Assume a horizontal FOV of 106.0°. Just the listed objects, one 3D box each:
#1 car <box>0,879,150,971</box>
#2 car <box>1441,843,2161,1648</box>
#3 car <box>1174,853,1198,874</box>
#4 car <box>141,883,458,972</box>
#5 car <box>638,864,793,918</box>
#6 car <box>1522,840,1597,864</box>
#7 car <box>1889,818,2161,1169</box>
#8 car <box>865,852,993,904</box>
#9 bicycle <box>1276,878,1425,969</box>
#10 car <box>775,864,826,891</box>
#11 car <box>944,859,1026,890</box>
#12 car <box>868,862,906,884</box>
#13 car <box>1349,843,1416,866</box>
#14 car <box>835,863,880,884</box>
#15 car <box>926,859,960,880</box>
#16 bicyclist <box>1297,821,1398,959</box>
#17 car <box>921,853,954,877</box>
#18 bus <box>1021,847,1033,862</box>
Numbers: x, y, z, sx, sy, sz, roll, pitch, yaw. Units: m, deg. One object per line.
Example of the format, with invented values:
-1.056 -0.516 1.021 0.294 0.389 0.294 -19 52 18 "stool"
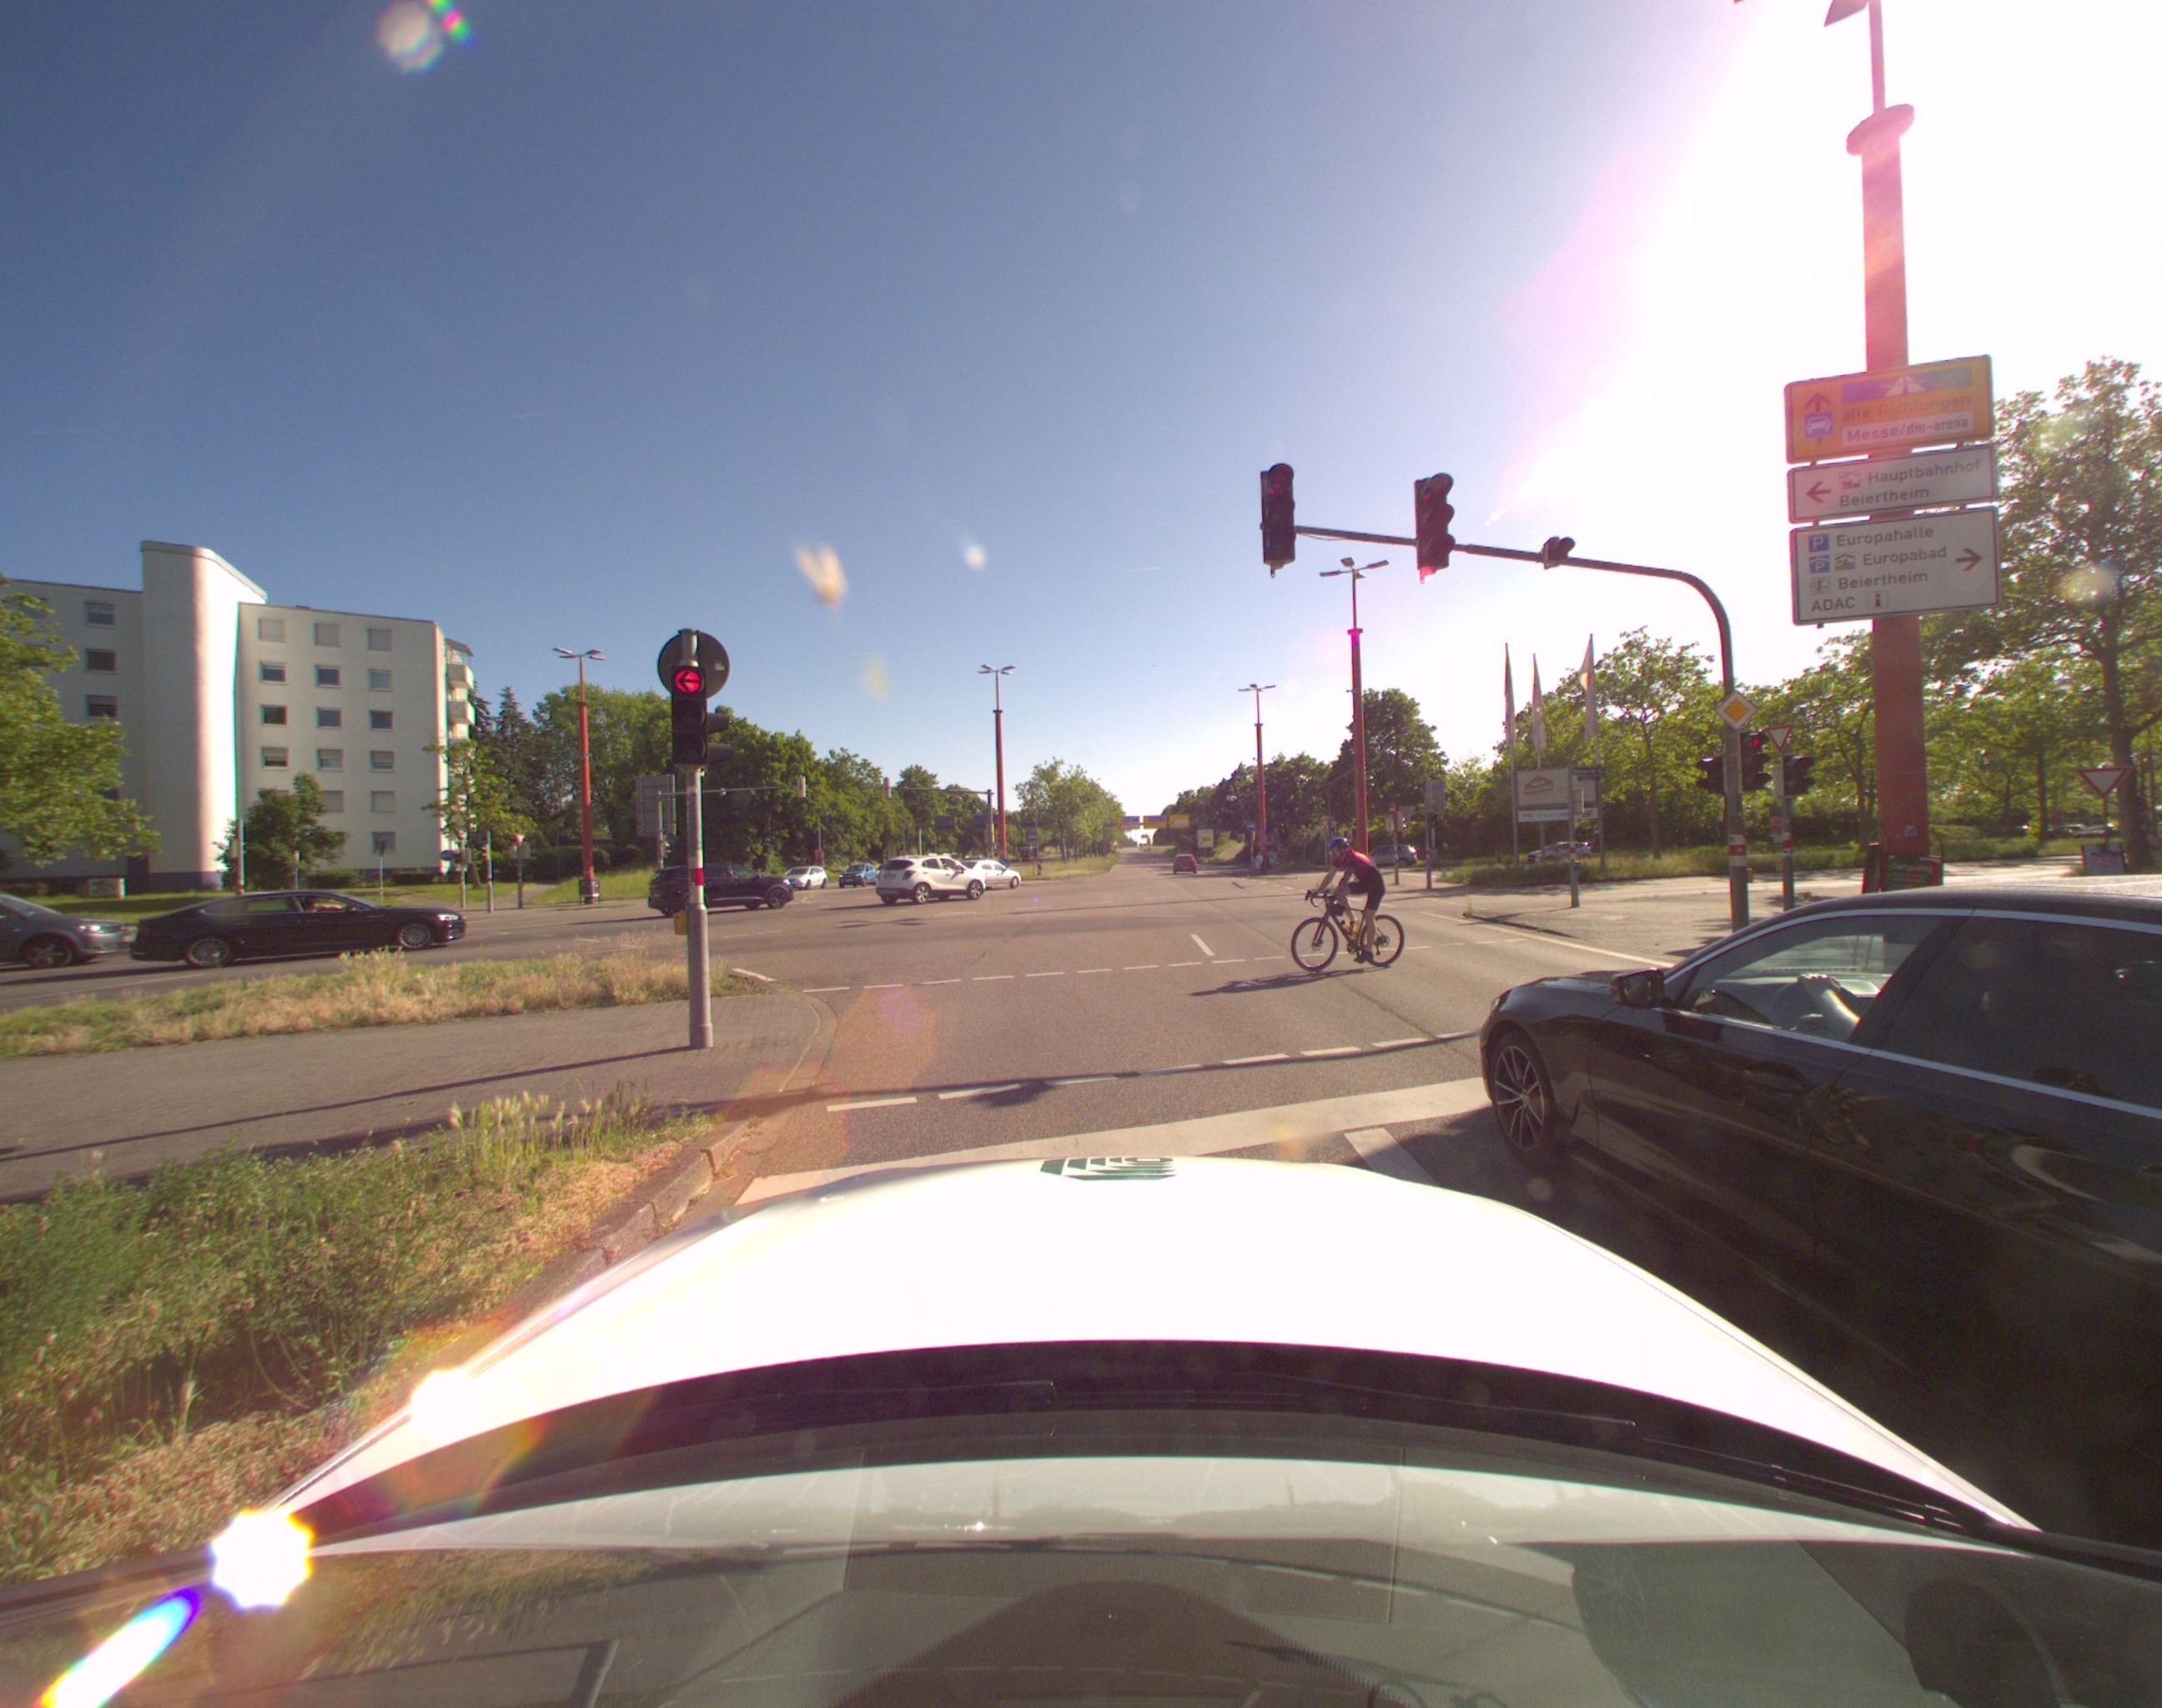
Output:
-22.178 1.461 16.313 4.327 1.708 1.831 -2 0 -37 "car"
2.887 0.689 2.383 1.862 1.398 4.446 -2 0 3 "car"
7.932 0.685 61.266 1.670 1.435 4.075 -2 0 9 "car"
-15.272 1.355 16.309 4.385 1.350 1.745 -2 0 -39 "car"
-12.025 1.171 27.011 1.834 1.545 4.288 -2 0 42 "car"
31.781 -0.128 54.211 3.962 1.467 1.687 -2 0 5 "car"
5.667 0.602 2.869 1.732 1.578 4.032 -2 0 3 "car"
-5.234 0.798 28.569 1.805 1.636 4.280 -2 0 36 "car"
3.603 0.889 10.888 1.832 1.057 0.717 -2 0 -20 "bicycle"
-17.577 1.454 51.202 1.754 1.532 3.936 -2 0 1 "car"
-4.401 0.907 37.719 1.468 1.346 4.025 -2 -1 34 "car"
-13.670 1.316 57.538 1.733 1.411 3.613 -2 0 1 "car"
20.971 0.036 56.755 4.279 1.485 1.794 -2 0 20 "car"
-14.087 1.210 51.428 1.733 1.243 3.613 -2 0 1 "car"
-9.904 1.085 58.675 1.733 1.362 3.613 -2 0 1 "car"
3.551 0.451 10.887 0.997 1.741 0.731 -2 0 -20 "bicyclist"
-12.526 0.935 71.555 1.886 2.026 5.224 -1 -1 1 "car"
-12.548 0.076 189.316 2.485 3.238 9.992 -2 0 -2 "bus"
